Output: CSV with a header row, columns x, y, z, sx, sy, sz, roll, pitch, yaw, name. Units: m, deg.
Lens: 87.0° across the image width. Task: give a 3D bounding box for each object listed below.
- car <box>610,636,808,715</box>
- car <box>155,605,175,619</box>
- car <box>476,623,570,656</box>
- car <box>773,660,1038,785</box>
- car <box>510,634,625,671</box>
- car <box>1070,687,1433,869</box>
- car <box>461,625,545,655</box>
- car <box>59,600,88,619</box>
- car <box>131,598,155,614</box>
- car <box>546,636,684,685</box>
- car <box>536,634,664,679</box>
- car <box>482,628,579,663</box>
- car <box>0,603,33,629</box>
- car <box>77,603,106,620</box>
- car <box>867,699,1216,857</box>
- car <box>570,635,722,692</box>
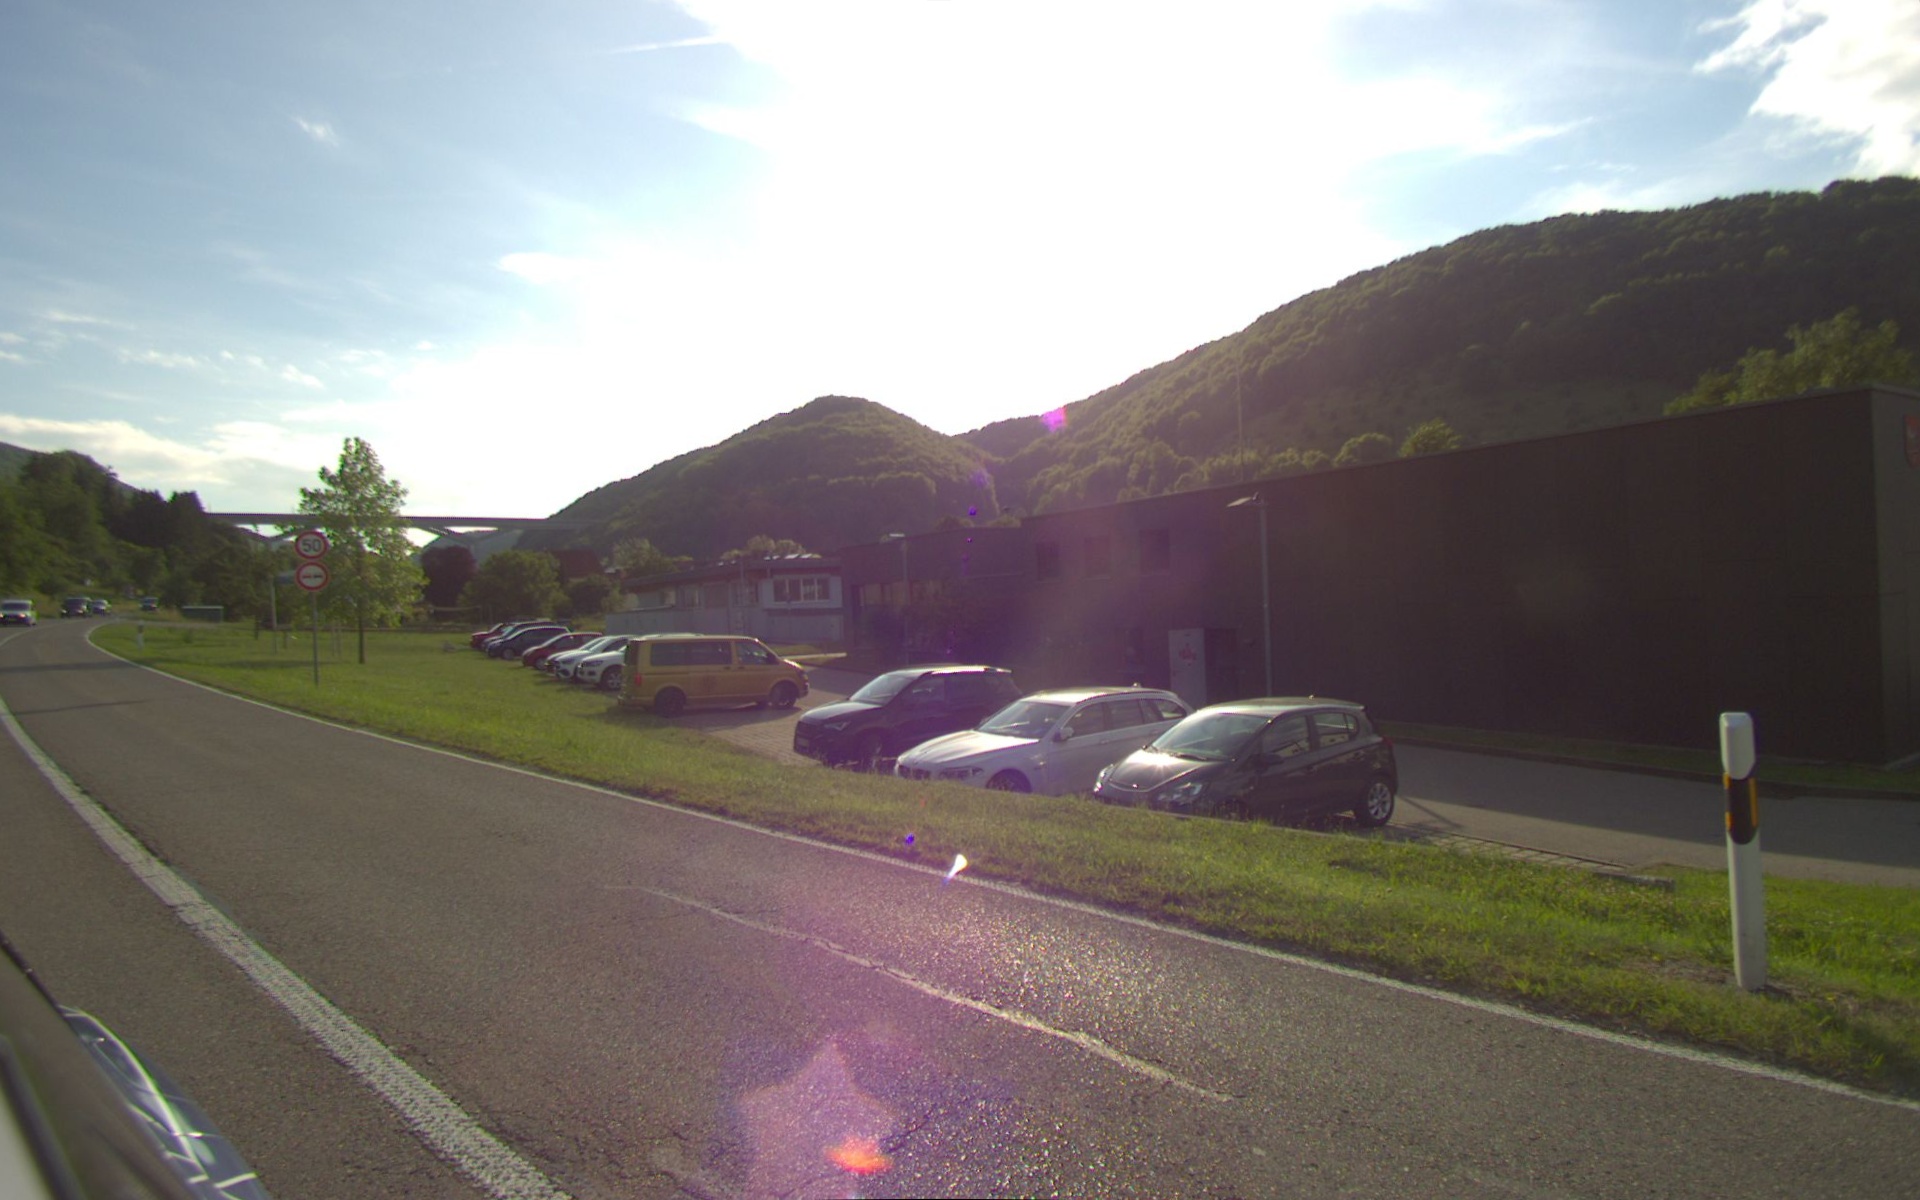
x,y,z,sx,sy,sz,roll,pitch,yaw,name
-6.452,1.869,26.150,4.583,1.827,2.006,1,-1,-30,car
-112.430,1.623,143.191,1.881,1.918,4.011,0,0,-34,car
-24.372,2.165,56.475,4.595,1.776,2.006,1,-1,-31,car
-0.898,2.020,17.668,4.225,1.650,1.918,-1,0,-35,car
-16.853,2.229,43.532,4.370,1.463,2.006,1,-1,-29,car
3.412,1.895,11.718,3.932,1.546,1.839,1,-1,-31,car
-27.454,2.365,60.830,4.371,1.733,2.006,1,-1,-31,car
-82.838,0.867,94.595,1.652,1.659,3.354,-1,-1,-35,car
-106.618,0.772,132.046,1.880,1.918,4.012,0,0,-30,car
-12.391,2.120,36.387,4.370,1.599,2.006,1,-1,-30,car
-14.000,2.147,39.365,4.371,1.595,2.006,1,-1,-31,car
-22.153,2.319,52.190,4.371,1.595,2.006,-1,-1,-31,car
-64.553,1.095,68.860,1.771,1.749,4.293,0,-1,-37,car
-90.690,1.240,105.748,1.967,1.730,4.009,0,-1,-36,car
1.203,2.274,13.877,4.576,1.508,1.918,1,-1,-34,car
-10.385,2.050,33.503,4.476,1.714,2.006,1,-1,-30,car
